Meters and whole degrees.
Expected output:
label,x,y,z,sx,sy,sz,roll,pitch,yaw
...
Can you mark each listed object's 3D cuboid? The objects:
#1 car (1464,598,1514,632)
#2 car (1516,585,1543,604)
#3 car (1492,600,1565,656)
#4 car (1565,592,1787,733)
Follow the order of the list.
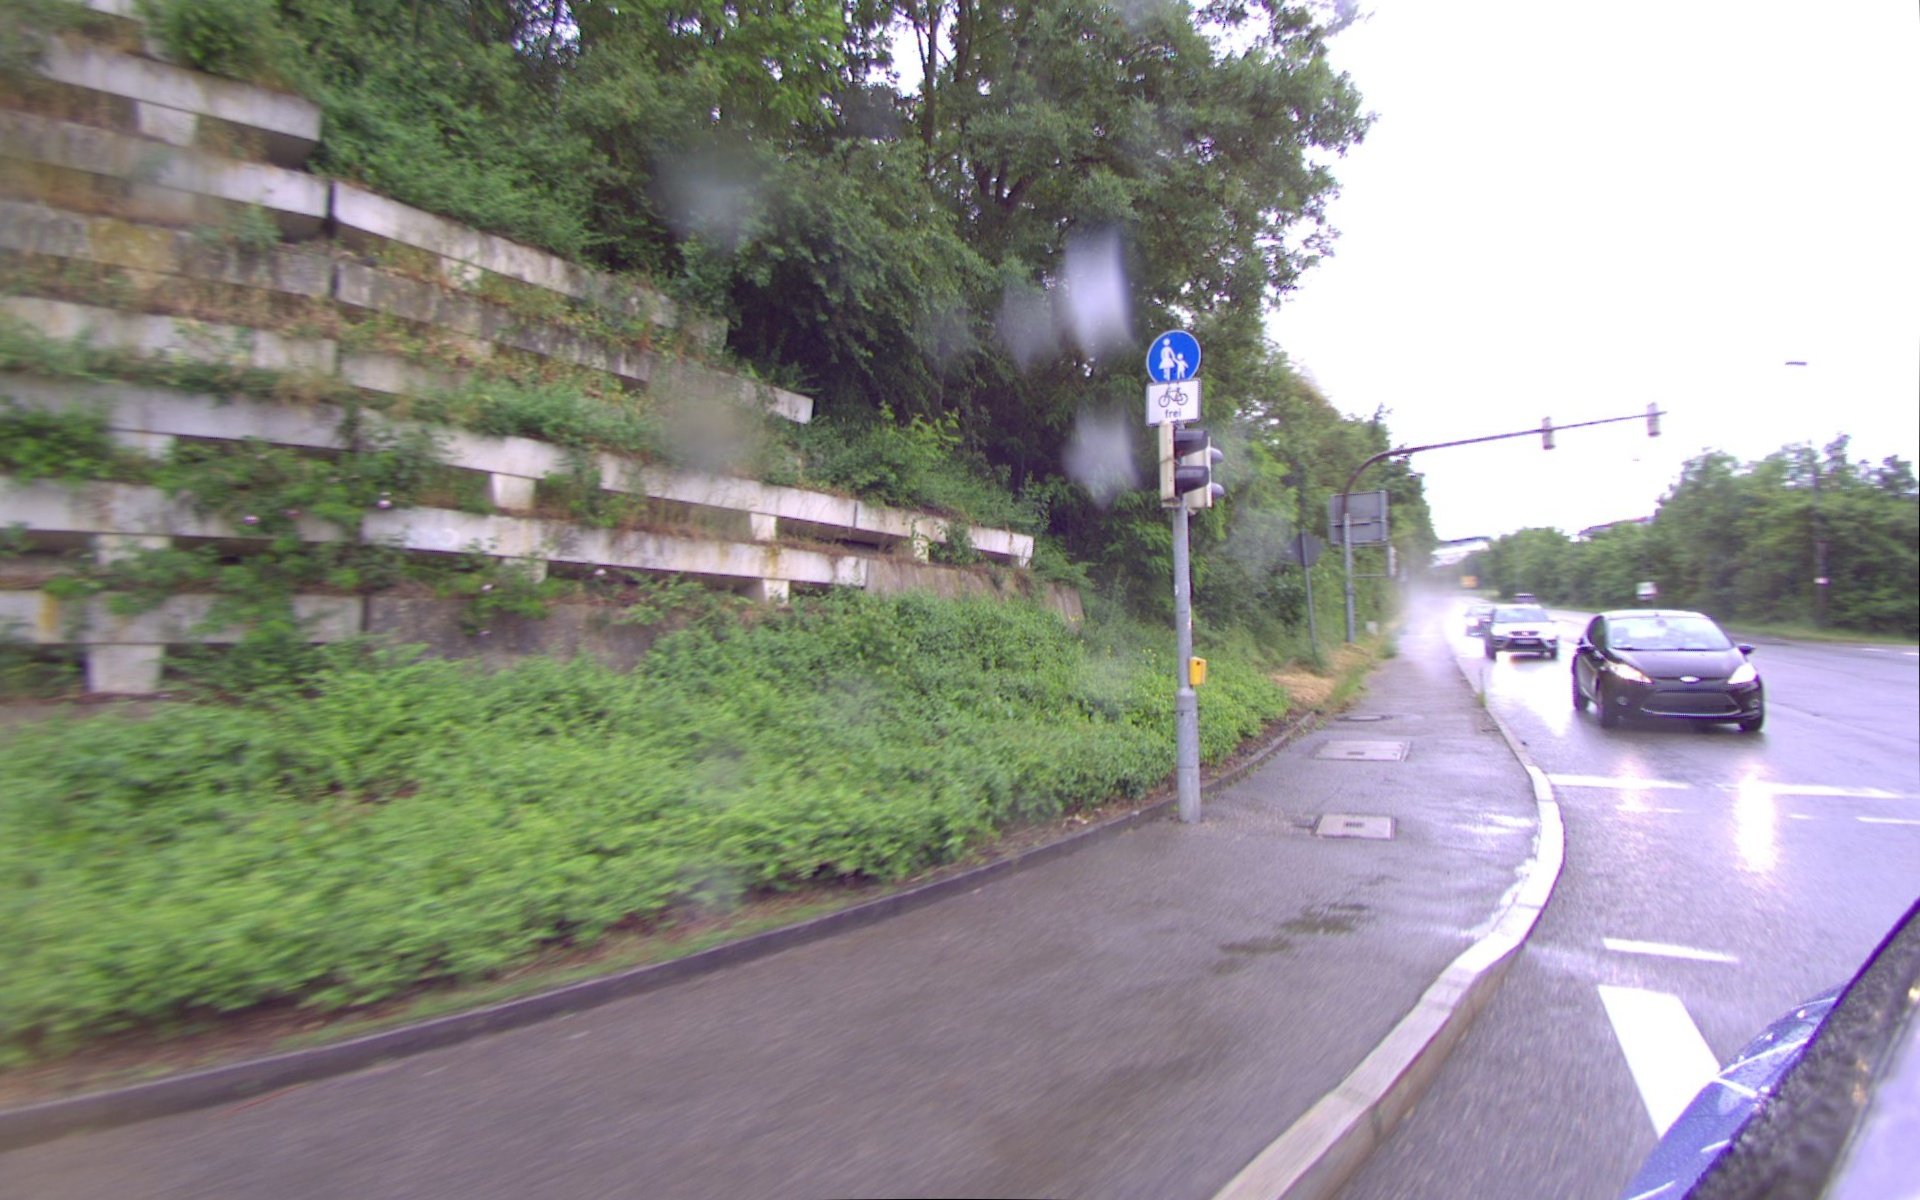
label,x,y,z,sx,sy,sz,roll,pitch,yaw
car,24.746,0.693,47.470,1.663,1.527,4.123,0,-1,22
car,50.585,-0.449,89.963,1.720,1.594,3.836,-1,-1,25
car,16.658,0.786,29.801,1.666,1.527,4.114,-1,-1,27
car,9.385,0.727,13.595,1.664,1.591,3.856,-1,-1,24
